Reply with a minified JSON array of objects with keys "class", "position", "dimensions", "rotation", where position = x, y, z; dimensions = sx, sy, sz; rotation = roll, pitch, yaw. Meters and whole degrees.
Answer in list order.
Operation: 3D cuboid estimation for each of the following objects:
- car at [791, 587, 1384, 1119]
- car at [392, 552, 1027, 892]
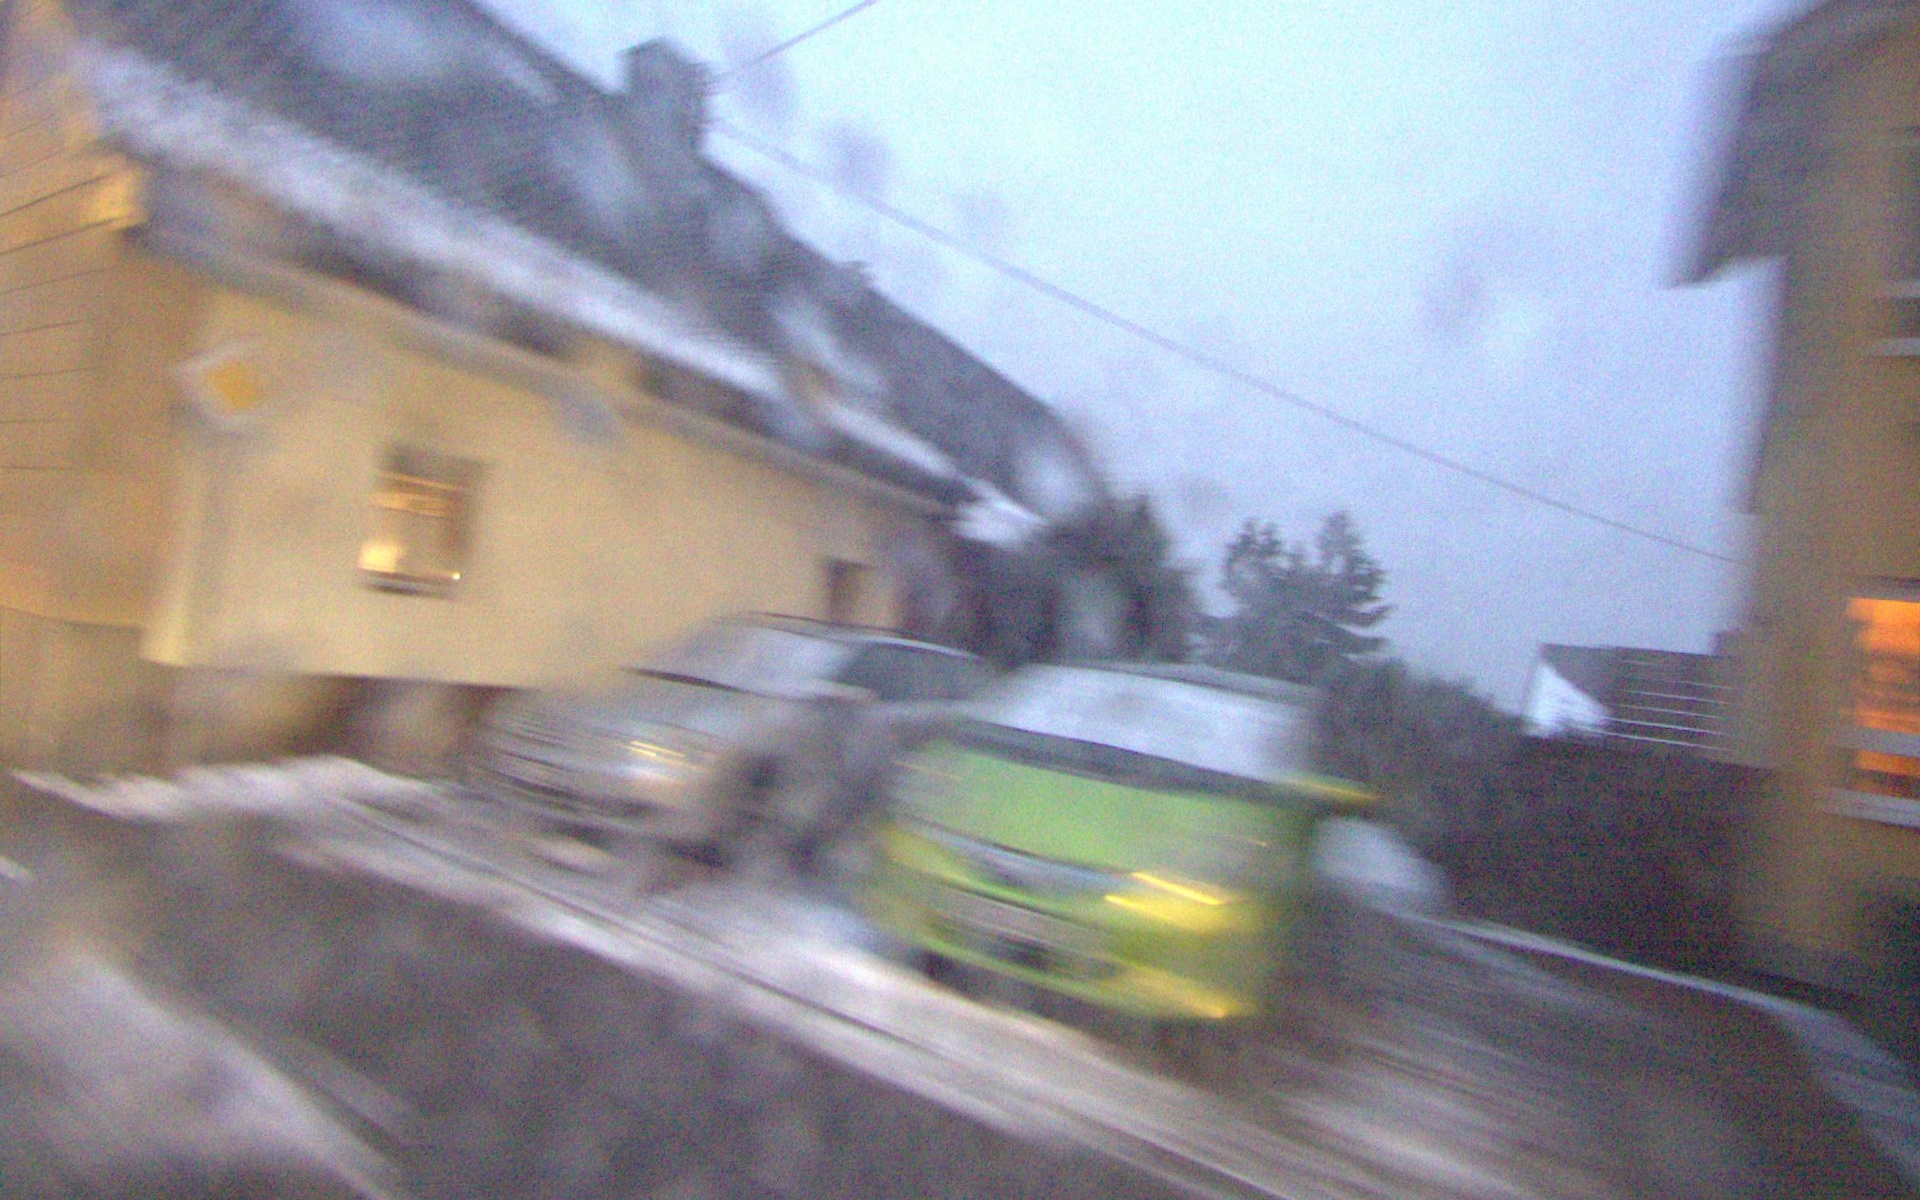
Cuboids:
[{"class":"car","position":[1.044,0.978,5.287],"dimensions":[1.789,1.514,3.753],"rotation":[7,-2,27]},{"class":"car","position":[-1.304,0.809,7.048],"dimensions":[1.868,1.448,4.185],"rotation":[8,-3,28]}]
